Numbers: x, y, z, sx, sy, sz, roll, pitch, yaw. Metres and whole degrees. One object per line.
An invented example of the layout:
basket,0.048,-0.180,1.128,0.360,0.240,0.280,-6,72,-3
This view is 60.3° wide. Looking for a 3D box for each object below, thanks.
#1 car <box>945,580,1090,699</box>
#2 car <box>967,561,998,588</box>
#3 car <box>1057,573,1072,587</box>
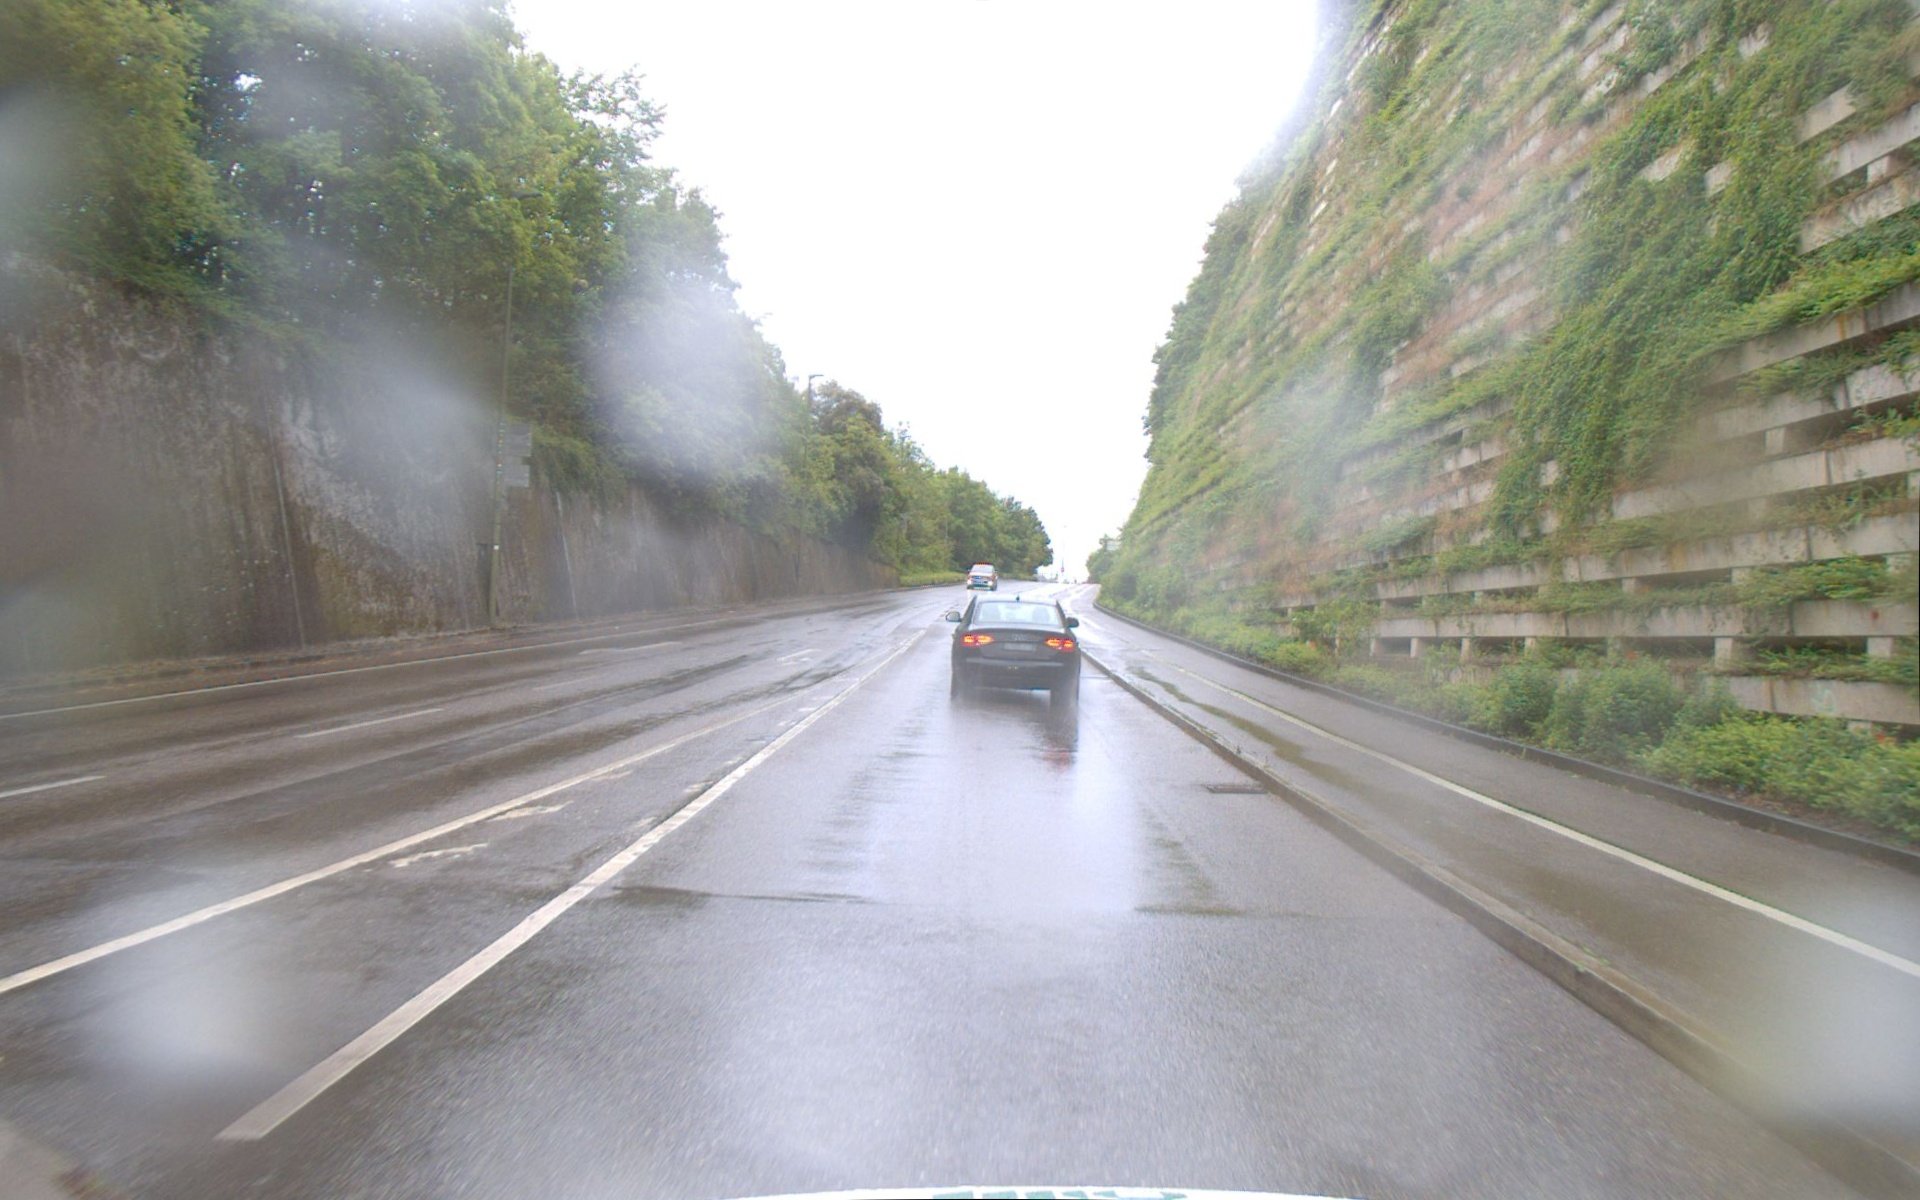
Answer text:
car,0.834,0.510,23.417,1.853,1.518,4.209,-1,0,2
car,1.479,-1.644,106.271,1.696,1.646,4.002,2,1,4
car,12.791,-2.440,201.926,1.826,1.474,4.380,2,2,4
